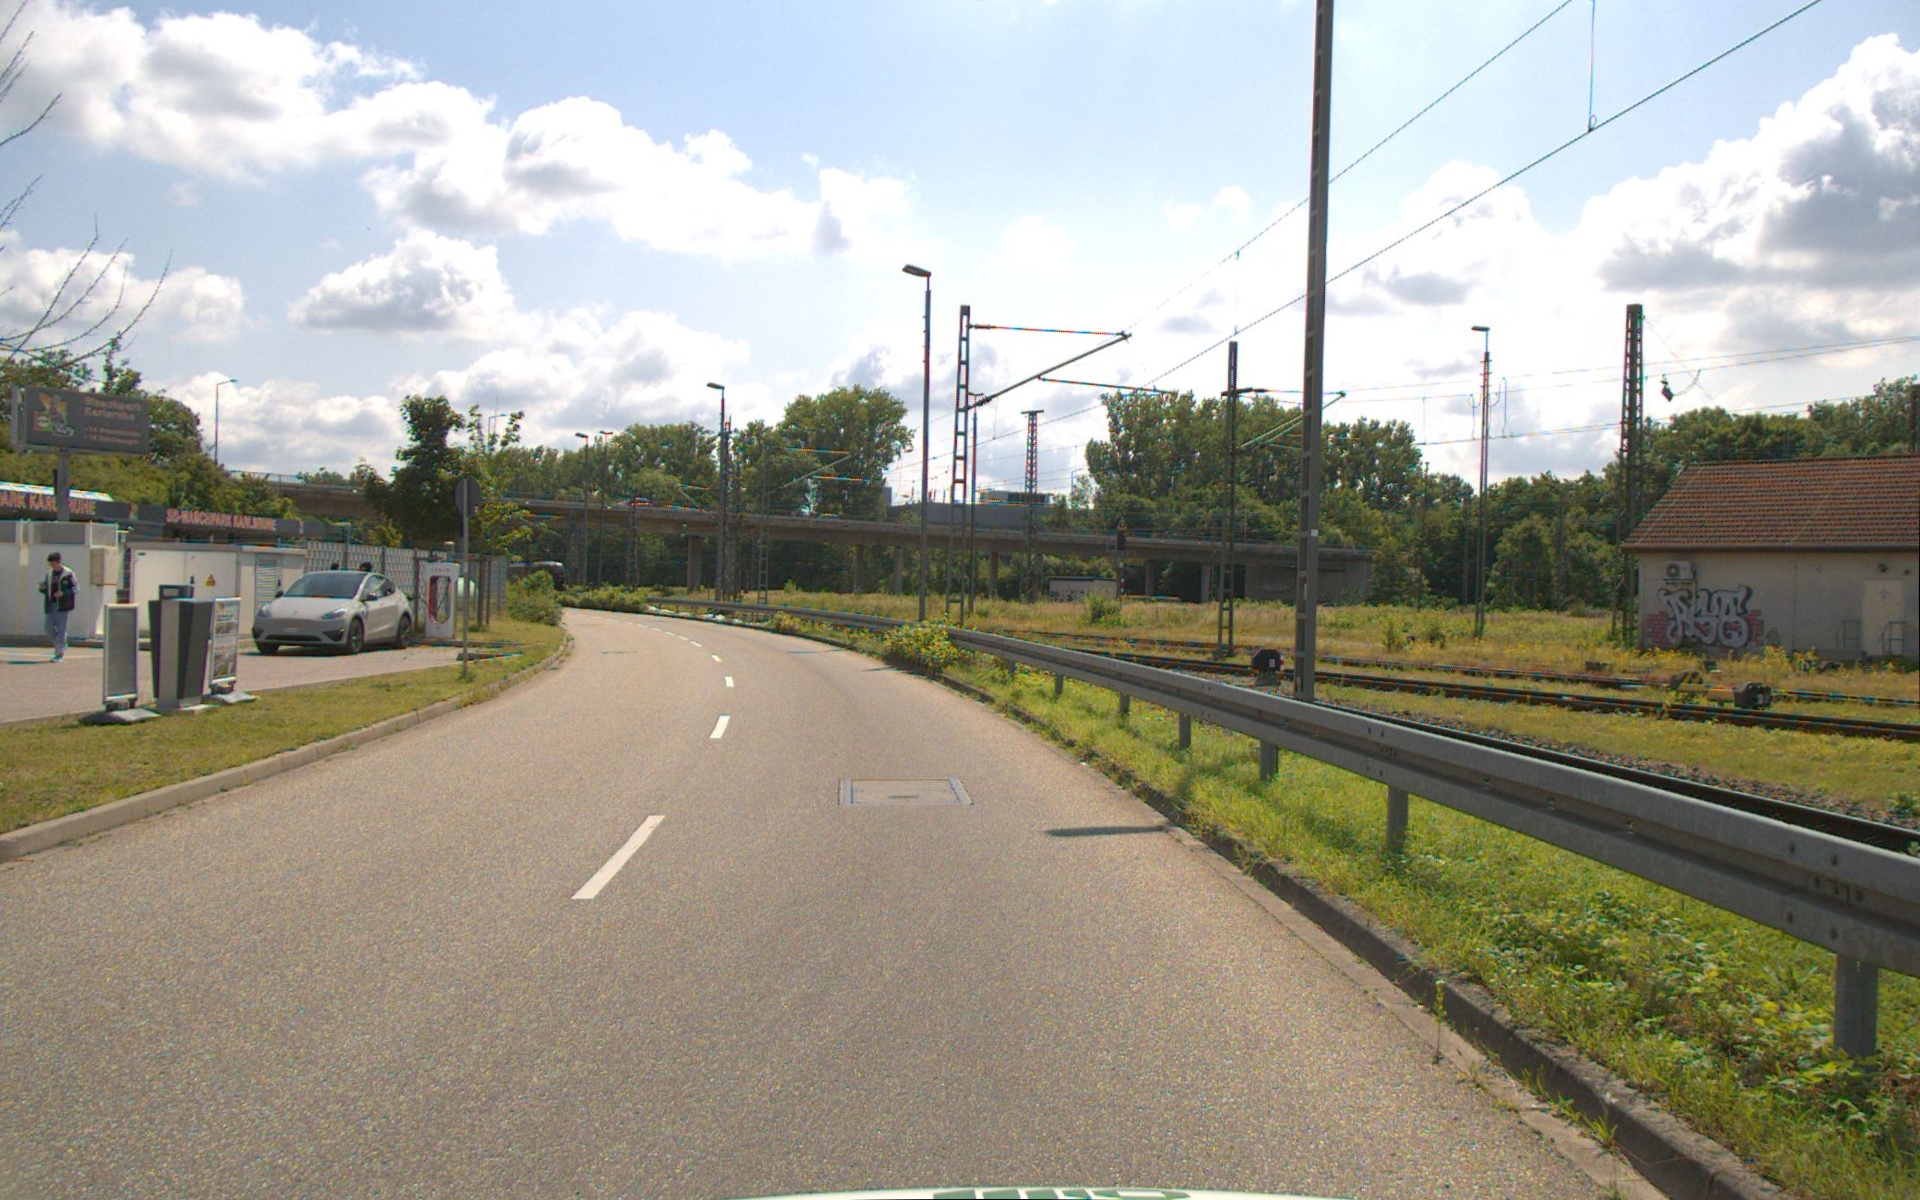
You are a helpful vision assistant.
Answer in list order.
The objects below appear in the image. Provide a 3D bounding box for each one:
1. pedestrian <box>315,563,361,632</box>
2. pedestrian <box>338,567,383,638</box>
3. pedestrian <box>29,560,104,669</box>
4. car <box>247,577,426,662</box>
[{"bbox_3d":[-14.456,-0.050,38.448,0.745,1.593,0.710,0,-1,40],"label":"pedestrian"},{"bbox_3d":[-13.769,0.062,37.998,0.700,1.607,0.718,0,-1,40],"label":"pedestrian"},{"bbox_3d":[-14.887,0.237,27.574,0.846,1.782,0.726,1,-1,-8],"label":"pedestrian"},{"bbox_3d":[-12.844,0.347,34.405,1.891,1.544,4.775,2,1,0],"label":"car"}]
